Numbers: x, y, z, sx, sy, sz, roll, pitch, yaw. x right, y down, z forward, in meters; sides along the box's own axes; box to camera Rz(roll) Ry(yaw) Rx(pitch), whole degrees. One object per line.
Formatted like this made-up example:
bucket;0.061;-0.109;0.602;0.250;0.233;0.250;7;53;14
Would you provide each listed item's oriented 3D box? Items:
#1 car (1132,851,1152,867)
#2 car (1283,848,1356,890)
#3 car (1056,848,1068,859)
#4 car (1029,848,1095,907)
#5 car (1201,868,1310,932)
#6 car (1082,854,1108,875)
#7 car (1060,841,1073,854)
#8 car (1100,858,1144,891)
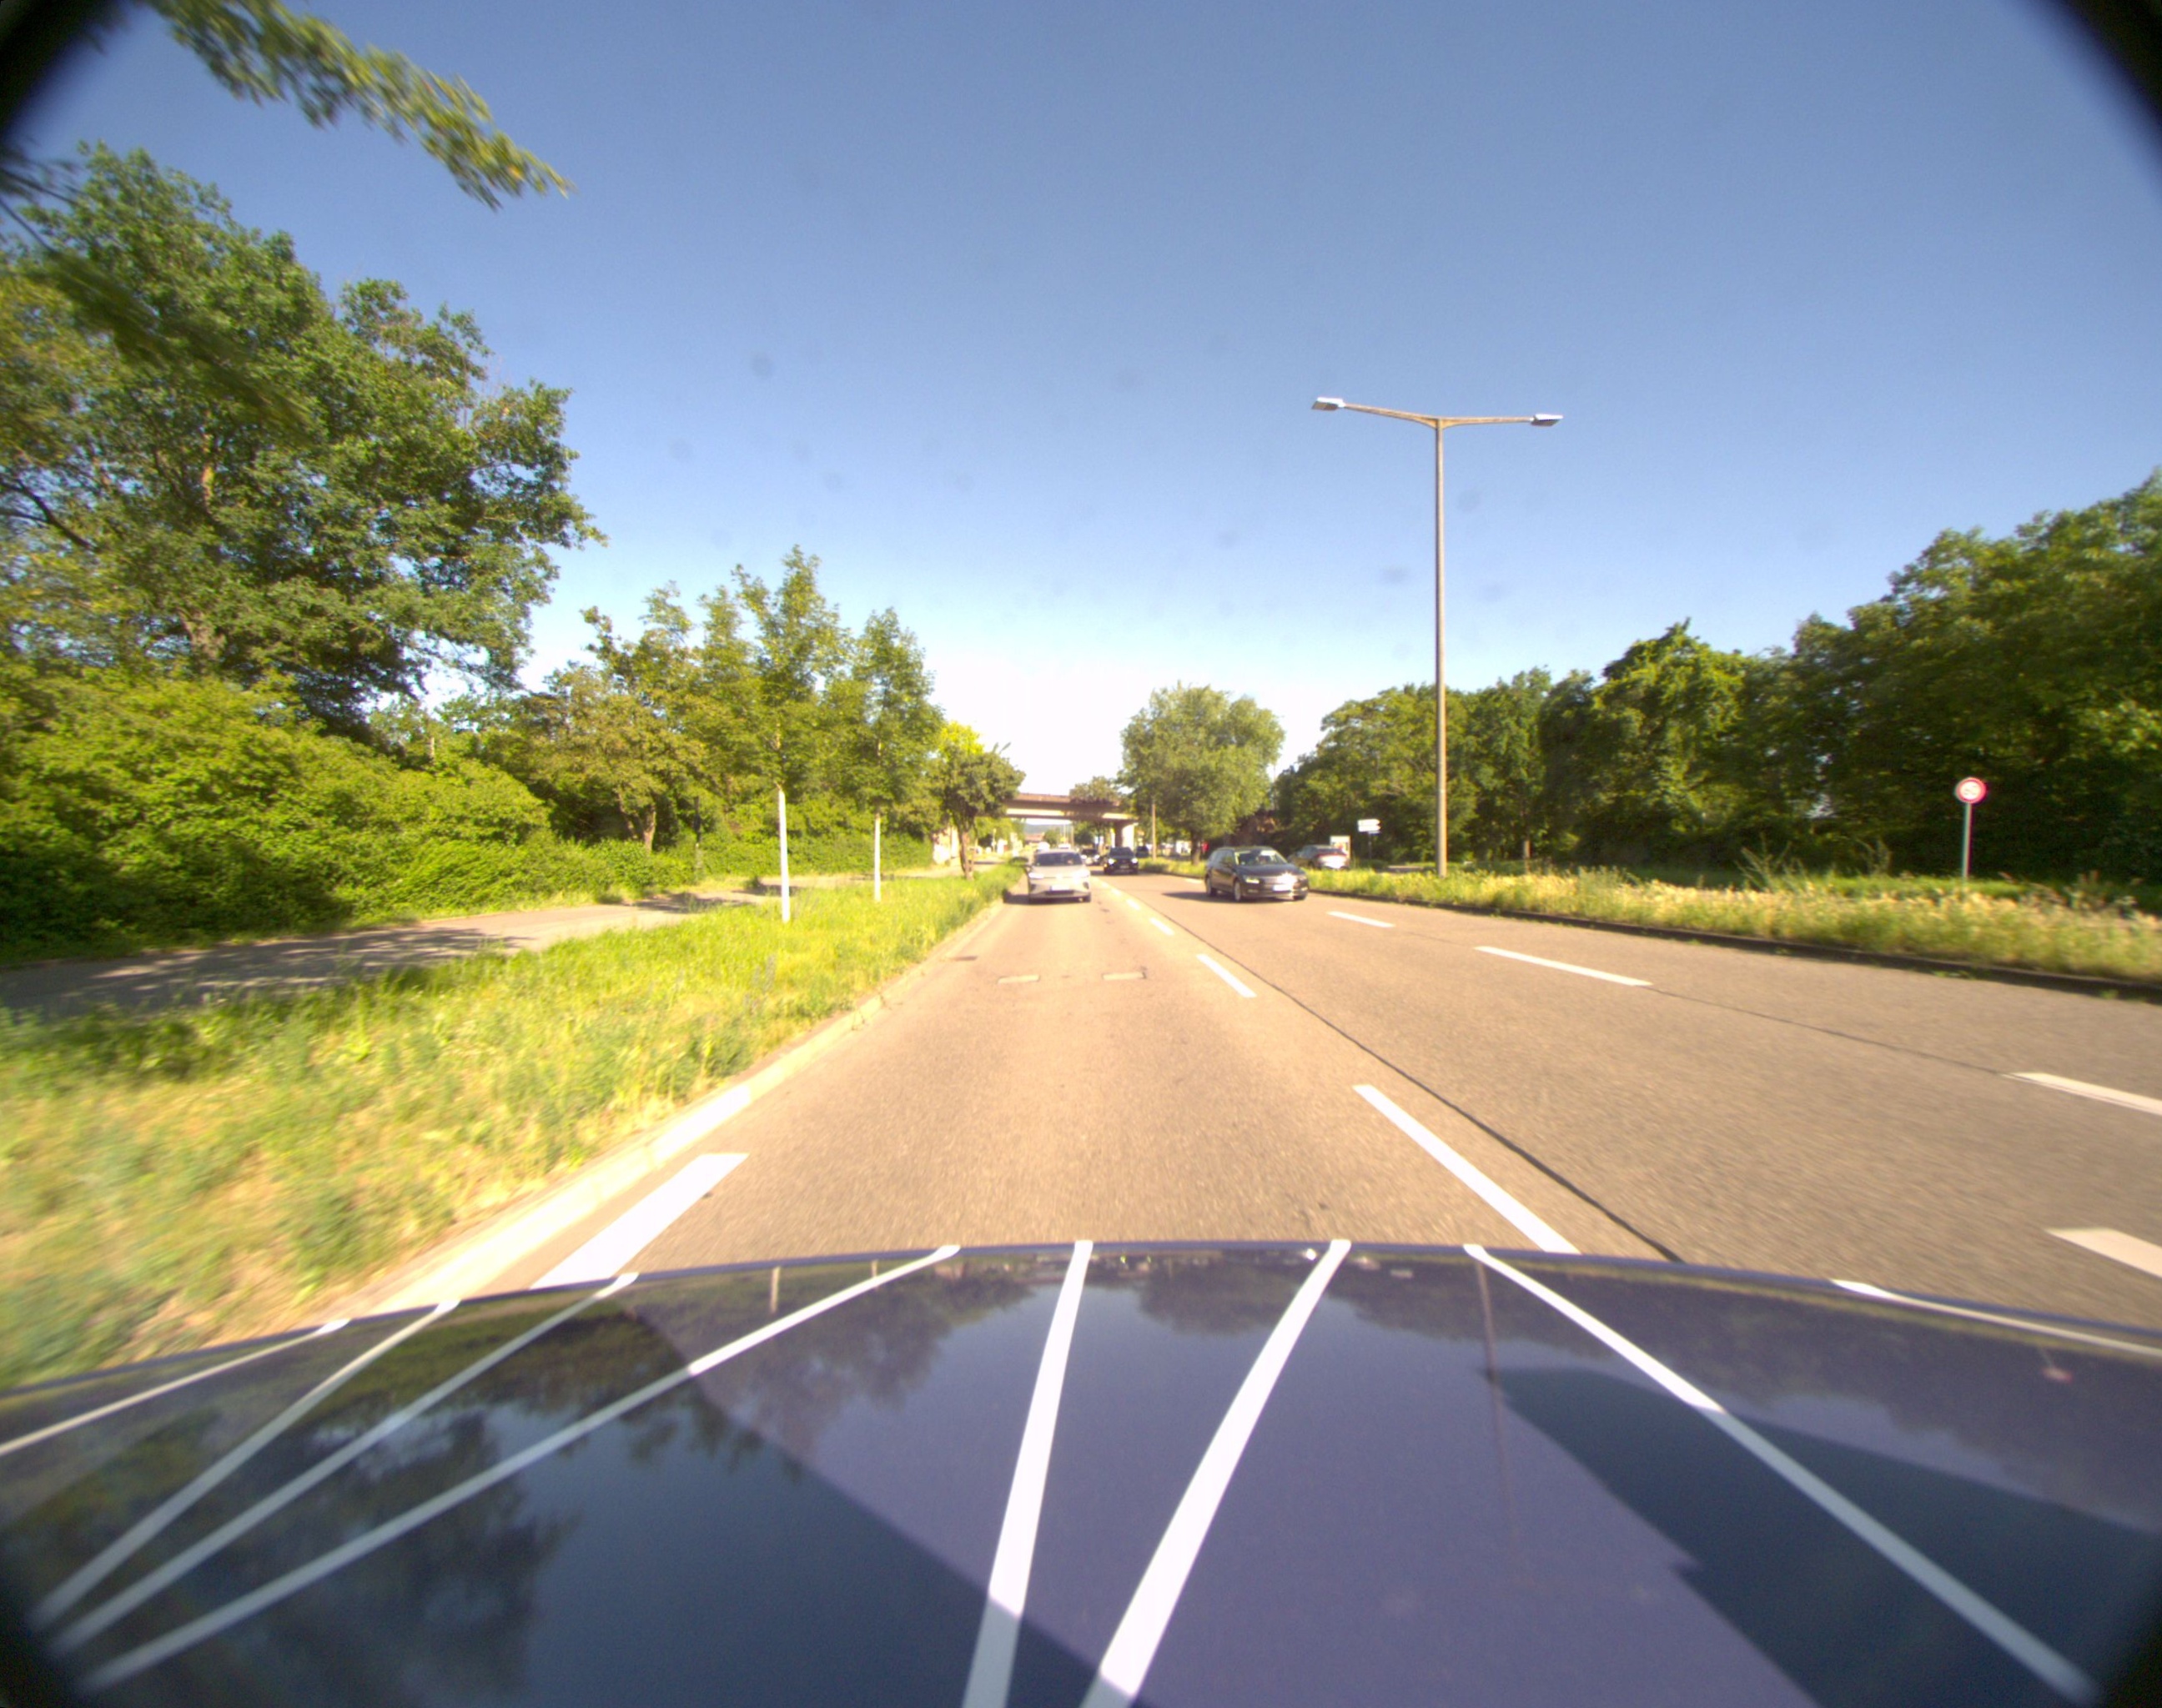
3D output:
car;8.089;0.623;100.803;1.999;1.918;5.243;0;1;-3
car;12.565;0.735;40.366;2.000;2.002;4.579;-2;1;-7
car;-3.513;-0.159;141.523;1.999;2.002;3.998;-2;1;-3
car;-0.632;0.650;23.630;1.849;1.615;4.264;-1;1;-3
car;4.712;1.189;21.130;1.849;1.445;4.264;-1;1;-3
car;1.240;0.927;69.440;1.999;1.779;4.269;-2;1;-3
car;-2.512;-1.108;130.623;2.089;2.230;3.998;-2;1;-3
car;2.341;1.151;44.526;1.999;1.674;4.694;-2;1;-3
